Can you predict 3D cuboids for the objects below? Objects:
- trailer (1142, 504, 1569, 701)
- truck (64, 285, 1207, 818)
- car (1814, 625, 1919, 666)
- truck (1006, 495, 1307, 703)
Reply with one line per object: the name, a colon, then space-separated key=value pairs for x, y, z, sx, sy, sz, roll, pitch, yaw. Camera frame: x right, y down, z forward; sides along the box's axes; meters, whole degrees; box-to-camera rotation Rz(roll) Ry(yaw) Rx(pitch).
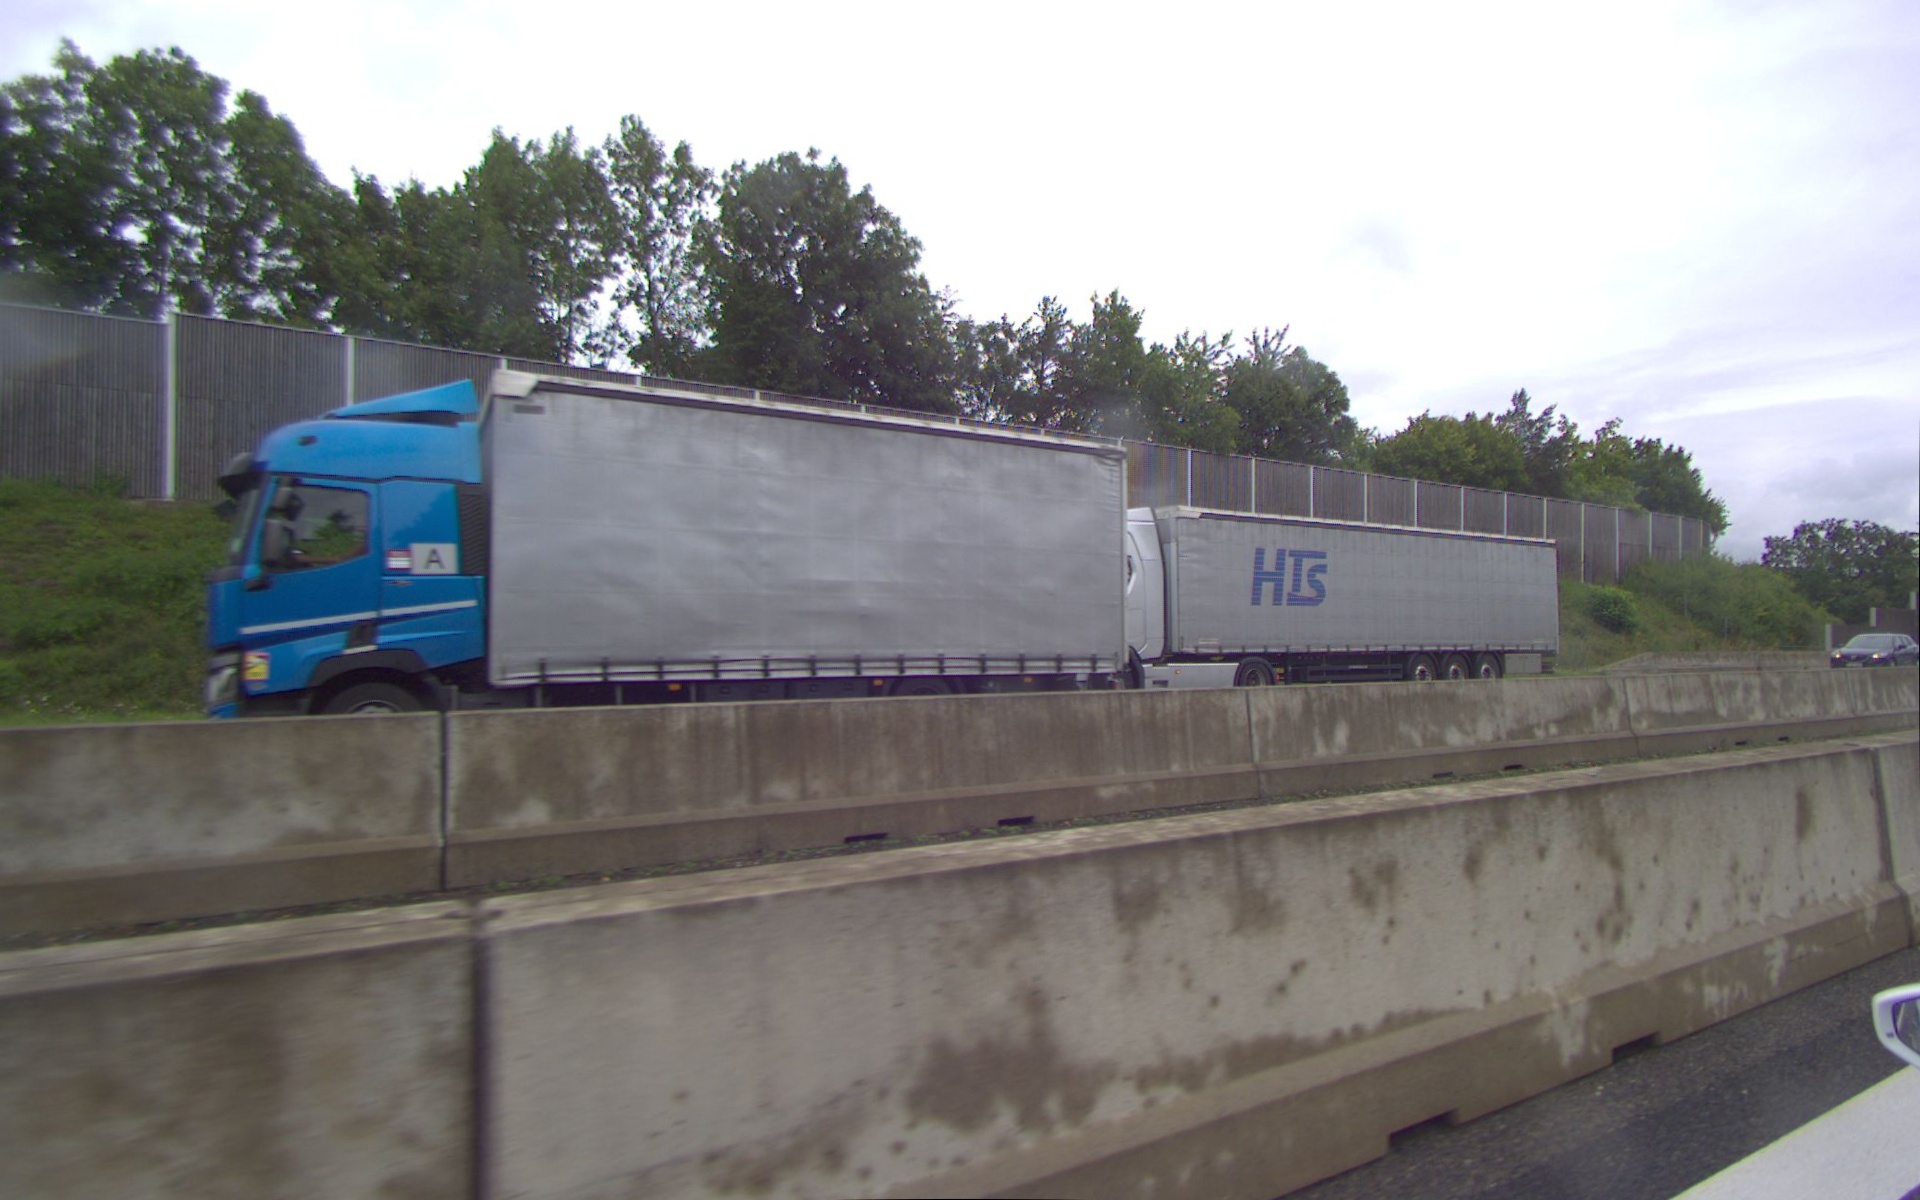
trailer: x=10.140 y=0.192 z=24.765 sx=12.298 sy=3.987 sz=2.890 roll=1 pitch=-1 yaw=-31
truck: x=-2.672 y=-0.260 z=12.783 sx=12.529 sy=4.382 sz=3.136 roll=2 pitch=0 yaw=-30
car: x=36.660 y=1.823 z=40.544 sx=4.429 sy=1.557 sz=1.984 roll=1 pitch=-1 yaw=-30
truck: x=4.197 y=0.057 z=21.250 sx=5.820 sy=3.846 sz=2.875 roll=1 pitch=-1 yaw=-30
